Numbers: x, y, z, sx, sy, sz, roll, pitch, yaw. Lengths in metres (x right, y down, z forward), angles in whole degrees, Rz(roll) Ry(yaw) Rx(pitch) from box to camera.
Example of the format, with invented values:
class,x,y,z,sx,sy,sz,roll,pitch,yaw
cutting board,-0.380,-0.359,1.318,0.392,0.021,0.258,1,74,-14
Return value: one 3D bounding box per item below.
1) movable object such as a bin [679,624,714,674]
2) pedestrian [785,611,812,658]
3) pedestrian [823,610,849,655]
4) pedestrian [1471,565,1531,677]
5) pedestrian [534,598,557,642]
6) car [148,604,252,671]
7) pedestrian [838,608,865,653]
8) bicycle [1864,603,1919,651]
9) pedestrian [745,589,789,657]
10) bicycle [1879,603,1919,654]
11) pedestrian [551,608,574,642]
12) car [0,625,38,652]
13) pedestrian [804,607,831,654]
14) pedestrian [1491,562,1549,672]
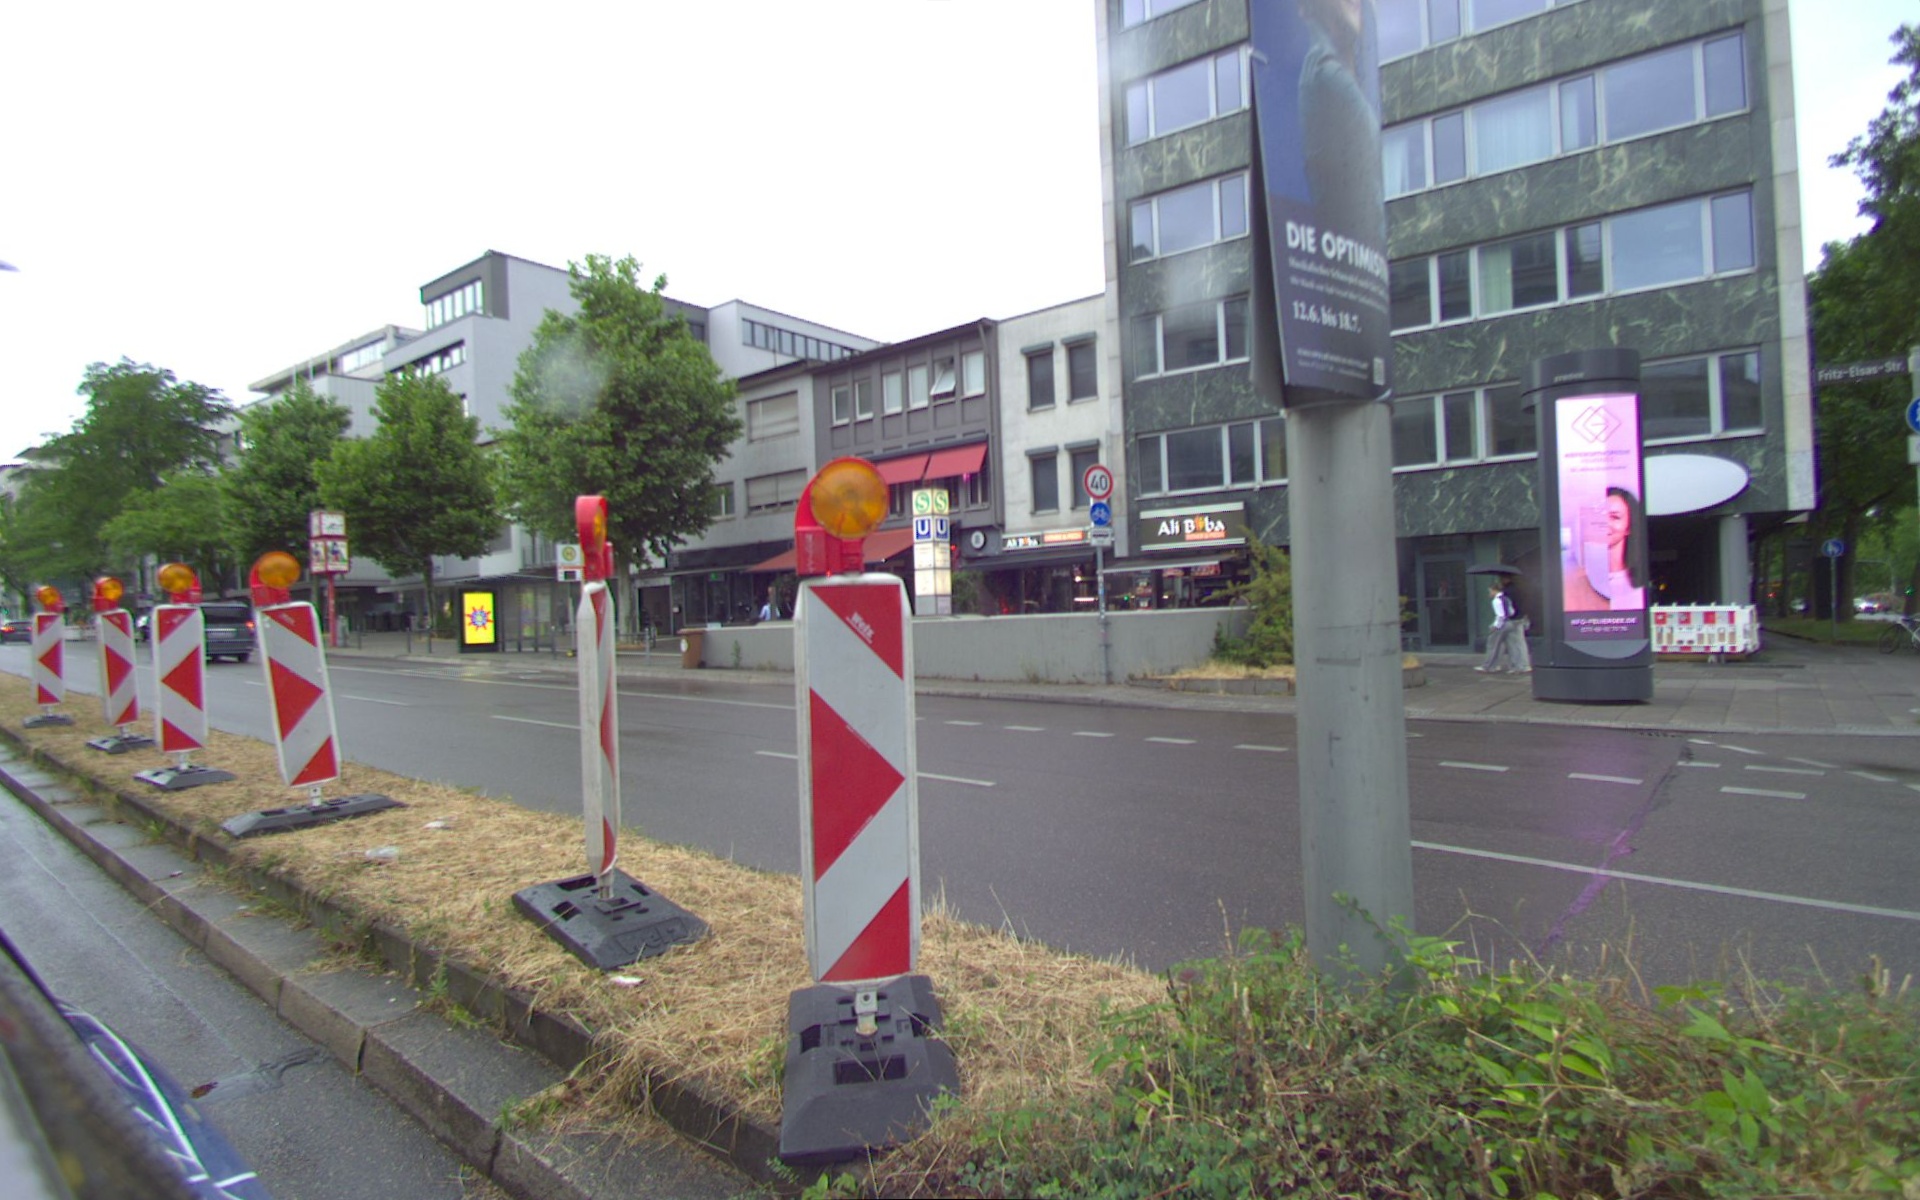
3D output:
class,x,y,z,sx,sy,sz,roll,pitch,yaw
movable object such as a bin,-6.108,1.128,23.454,0.660,1.109,0.501,-1,0,39
pedestrian,-5.476,1.164,34.319,0.611,1.540,0.660,-2,-1,44
pedestrian,-4.347,1.128,35.538,0.611,1.540,0.660,-2,-1,44
pedestrian,10.038,0.390,18.791,0.588,2.029,0.730,0,-1,-29
pedestrian,-19.310,0.909,47.112,0.764,2.029,0.768,-1,0,-41
car,-24.486,1.122,32.525,4.967,1.942,1.971,0,1,45
pedestrian,-3.761,1.042,35.020,0.611,1.540,0.660,-2,-1,44
bicycle,21.256,0.594,22.392,1.780,1.060,0.579,-1,-1,37
pedestrian,-5.897,0.676,30.887,0.943,2.029,0.910,-1,0,41
bicycle,20.760,0.600,21.483,1.780,1.060,0.579,-1,-1,37
pedestrian,-18.755,1.192,47.768,0.764,1.577,0.768,-1,0,-41
car,-56.167,2.288,59.797,4.283,1.522,1.672,-2,-4,37
pedestrian,-4.746,0.995,33.711,0.611,1.540,0.660,-2,-1,44
pedestrian,10.553,0.316,19.081,0.588,2.029,0.730,0,-1,-29
